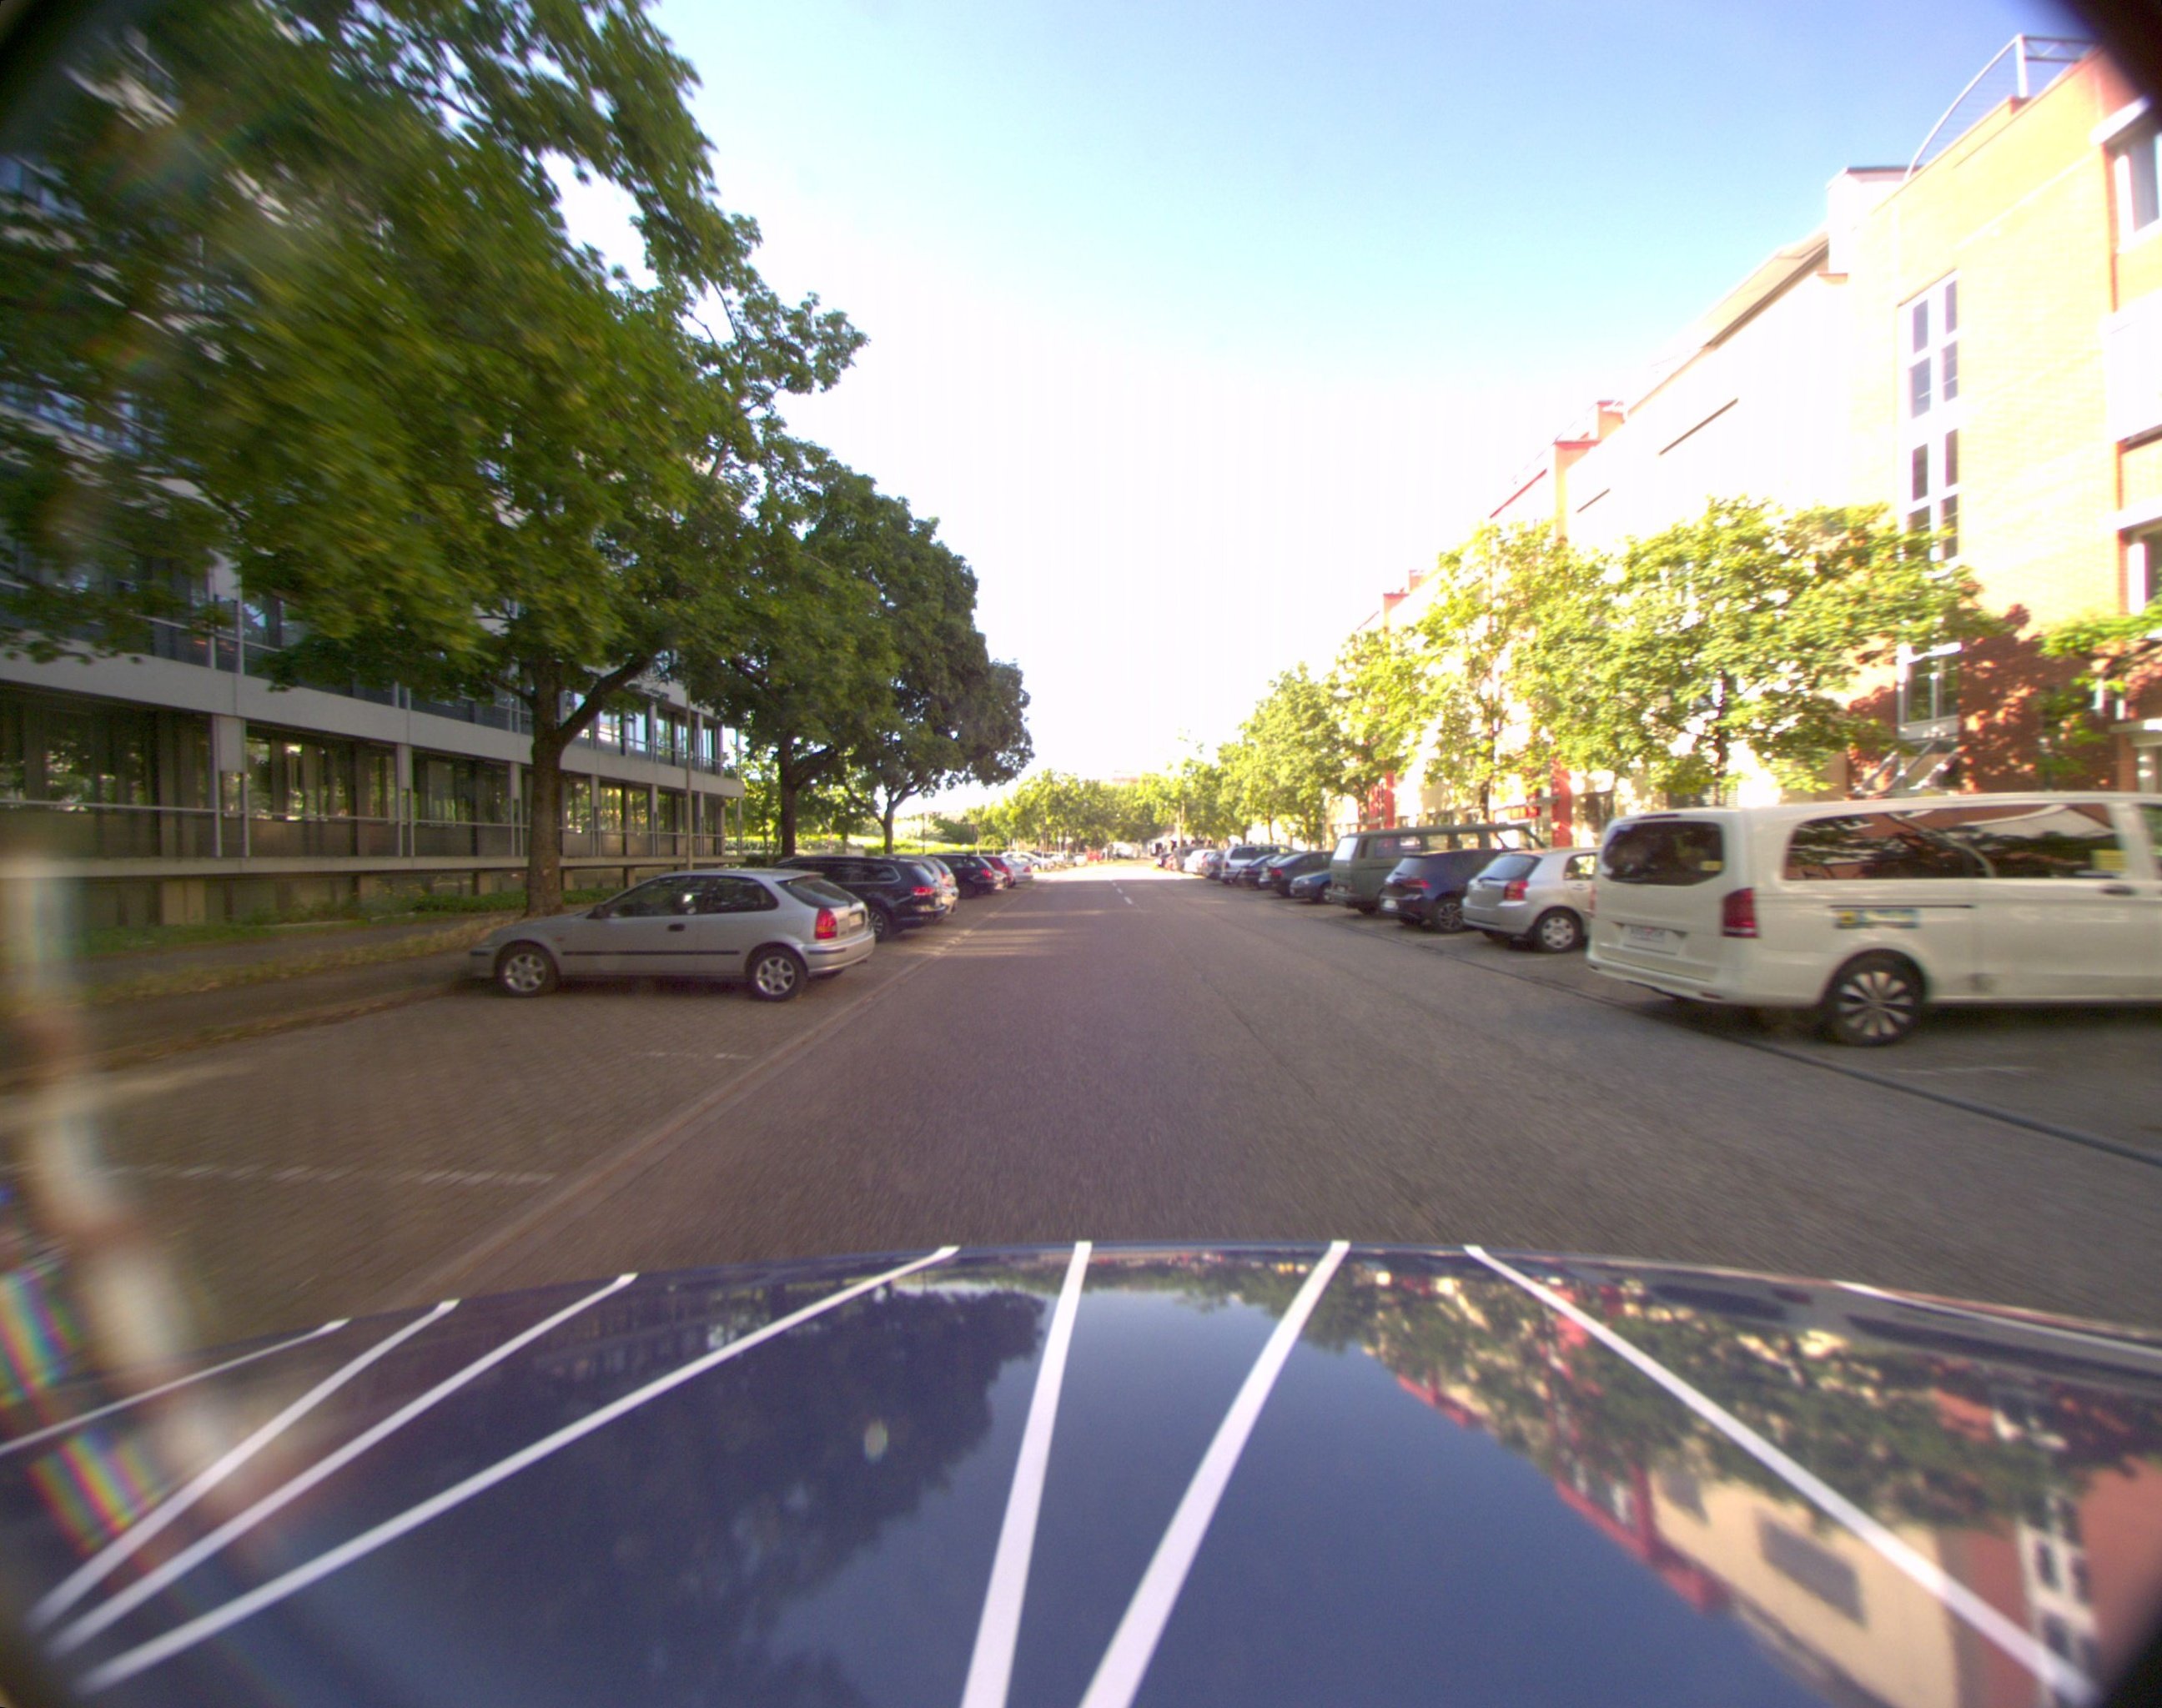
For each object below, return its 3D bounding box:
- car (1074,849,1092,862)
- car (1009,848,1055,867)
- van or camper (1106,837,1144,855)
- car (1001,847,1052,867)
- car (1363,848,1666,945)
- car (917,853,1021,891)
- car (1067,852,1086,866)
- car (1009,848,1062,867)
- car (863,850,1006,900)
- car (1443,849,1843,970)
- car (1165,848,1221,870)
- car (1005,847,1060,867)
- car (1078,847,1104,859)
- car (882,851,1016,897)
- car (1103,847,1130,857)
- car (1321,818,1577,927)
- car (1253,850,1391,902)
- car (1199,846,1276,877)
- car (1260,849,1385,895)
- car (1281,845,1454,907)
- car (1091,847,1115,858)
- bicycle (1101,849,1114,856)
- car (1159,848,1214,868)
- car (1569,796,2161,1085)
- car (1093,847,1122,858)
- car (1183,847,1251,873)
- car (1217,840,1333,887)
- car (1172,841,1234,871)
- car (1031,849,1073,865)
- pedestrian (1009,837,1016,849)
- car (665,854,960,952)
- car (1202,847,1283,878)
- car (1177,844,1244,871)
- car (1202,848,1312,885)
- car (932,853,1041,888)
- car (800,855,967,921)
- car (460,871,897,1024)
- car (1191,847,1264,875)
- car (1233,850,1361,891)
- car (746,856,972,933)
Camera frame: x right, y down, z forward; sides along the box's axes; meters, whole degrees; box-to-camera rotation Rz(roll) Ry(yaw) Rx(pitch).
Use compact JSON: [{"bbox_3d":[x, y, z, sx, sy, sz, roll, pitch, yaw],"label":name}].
[{"bbox_3d":[0.287,0.179,95.093,1.646,1.485,3.767,2,1,8],"label":"car"},{"bbox_3d":[-4.281,0.288,66.692,3.885,1.506,1.750,2,1,1],"label":"car"},{"bbox_3d":[7.639,-1.385,131.138,5.990,2.967,2.673,2,2,12],"label":"van or camper"},{"bbox_3d":[-4.385,0.235,61.515,3.957,1.506,1.701,2,1,2],"label":"car"},{"bbox_3d":[7.653,0.719,13.789,4.330,1.469,1.943,-2,1,3],"label":"car"},{"bbox_3d":[-4.525,0.712,31.067,3.846,1.439,1.922,1,1,5],"label":"car"},{"bbox_3d":[-0.520,0.568,87.146,1.813,1.485,4.624,2,1,4],"label":"car"},{"bbox_3d":[-4.113,0.292,69.242,4.560,1.506,2.158,2,1,1],"label":"car"},{"bbox_3d":[-4.896,0.694,25.863,4.528,1.533,1.921,1,1,-3],"label":"car"},{"bbox_3d":[7.949,0.747,11.125,4.330,1.469,1.943,-2,1,3],"label":"car"},{"bbox_3d":[8.257,0.373,56.314,3.901,1.415,1.739,-2,1,1],"label":"car"},{"bbox_3d":[-4.125,0.256,64.235,4.563,1.506,1.981,2,1,-5],"label":"car"},{"bbox_3d":[1.417,-0.089,109.053,3.438,1.535,1.629,3,2,14],"label":"car"},{"bbox_3d":[-4.855,0.709,28.307,4.524,1.533,1.922,1,1,5],"label":"car"},{"bbox_3d":[6.037,-0.408,128.649,4.155,1.537,1.860,3,1,11],"label":"car"},{"bbox_3d":[7.812,0.377,16.527,4.498,2.078,2.083,-2,1,3],"label":"car"},{"bbox_3d":[7.488,0.660,23.820,3.736,1.419,1.725,-2,1,-1],"label":"car"},{"bbox_3d":[8.467,0.390,41.332,3.735,1.500,1.859,-2,1,0],"label":"car"},{"bbox_3d":[8.273,0.596,26.258,3.735,1.419,1.725,-2,1,0],"label":"car"},{"bbox_3d":[7.915,0.594,21.255,4.142,1.519,1.725,-2,1,1],"label":"car"},{"bbox_3d":[3.445,-0.211,118.449,3.467,1.471,1.860,3,1,10],"label":"car"},{"bbox_3d":[3.867,-0.217,111.449,1.752,0.985,0.531,2,2,25],"label":"bicycle"},{"bbox_3d":[8.430,0.293,60.872,4.272,1.415,1.740,-2,1,5],"label":"car"},{"bbox_3d":[7.349,0.572,6.303,5.270,1.955,1.943,-2,1,2],"label":"car"},{"bbox_3d":[4.258,-0.258,121.128,4.199,1.537,1.861,3,1,14],"label":"car"},{"bbox_3d":[8.250,0.353,46.267,3.736,1.439,1.875,-2,1,-3],"label":"car"},{"bbox_3d":[7.868,0.386,31.232,4.330,1.707,1.963,-2,1,6],"label":"car"},{"bbox_3d":[8.240,0.120,51.426,3.901,1.801,1.786,-2,1,1],"label":"car"},{"bbox_3d":[-3.002,0.339,79.496,4.096,1.421,1.643,3,1,8],"label":"car"},{"bbox_3d":[-8.506,-1.377,94.371,0.608,1.533,0.937,0,1,6],"label":"pedestrian"},{"bbox_3d":[-4.622,0.824,13.587,4.603,1.484,1.762,2,1,-2],"label":"car"},{"bbox_3d":[8.246,0.433,38.978,3.735,1.419,1.840,-2,1,0],"label":"car"},{"bbox_3d":[8.304,0.212,48.944,3.902,1.565,1.859,-2,1,0],"label":"car"},{"bbox_3d":[7.708,0.541,33.515,4.414,1.419,1.772,-2,1,-1],"label":"car"},{"bbox_3d":[-4.110,0.715,33.672,4.589,1.467,1.747,0,1,1],"label":"car"},{"bbox_3d":[-4.809,0.812,18.855,3.754,1.484,1.616,1,1,-4],"label":"car"},{"bbox_3d":[-4.283,0.956,8.520,3.979,1.412,1.710,1,1,1],"label":"car"},{"bbox_3d":[8.417,0.389,43.906,3.736,1.439,1.859,-2,1,-3],"label":"car"},{"bbox_3d":[8.127,0.597,28.899,4.332,1.350,1.757,-2,1,0],"label":"car"},{"bbox_3d":[-4.685,0.832,16.532,4.296,1.484,2.004,1,1,0],"label":"car"}]
